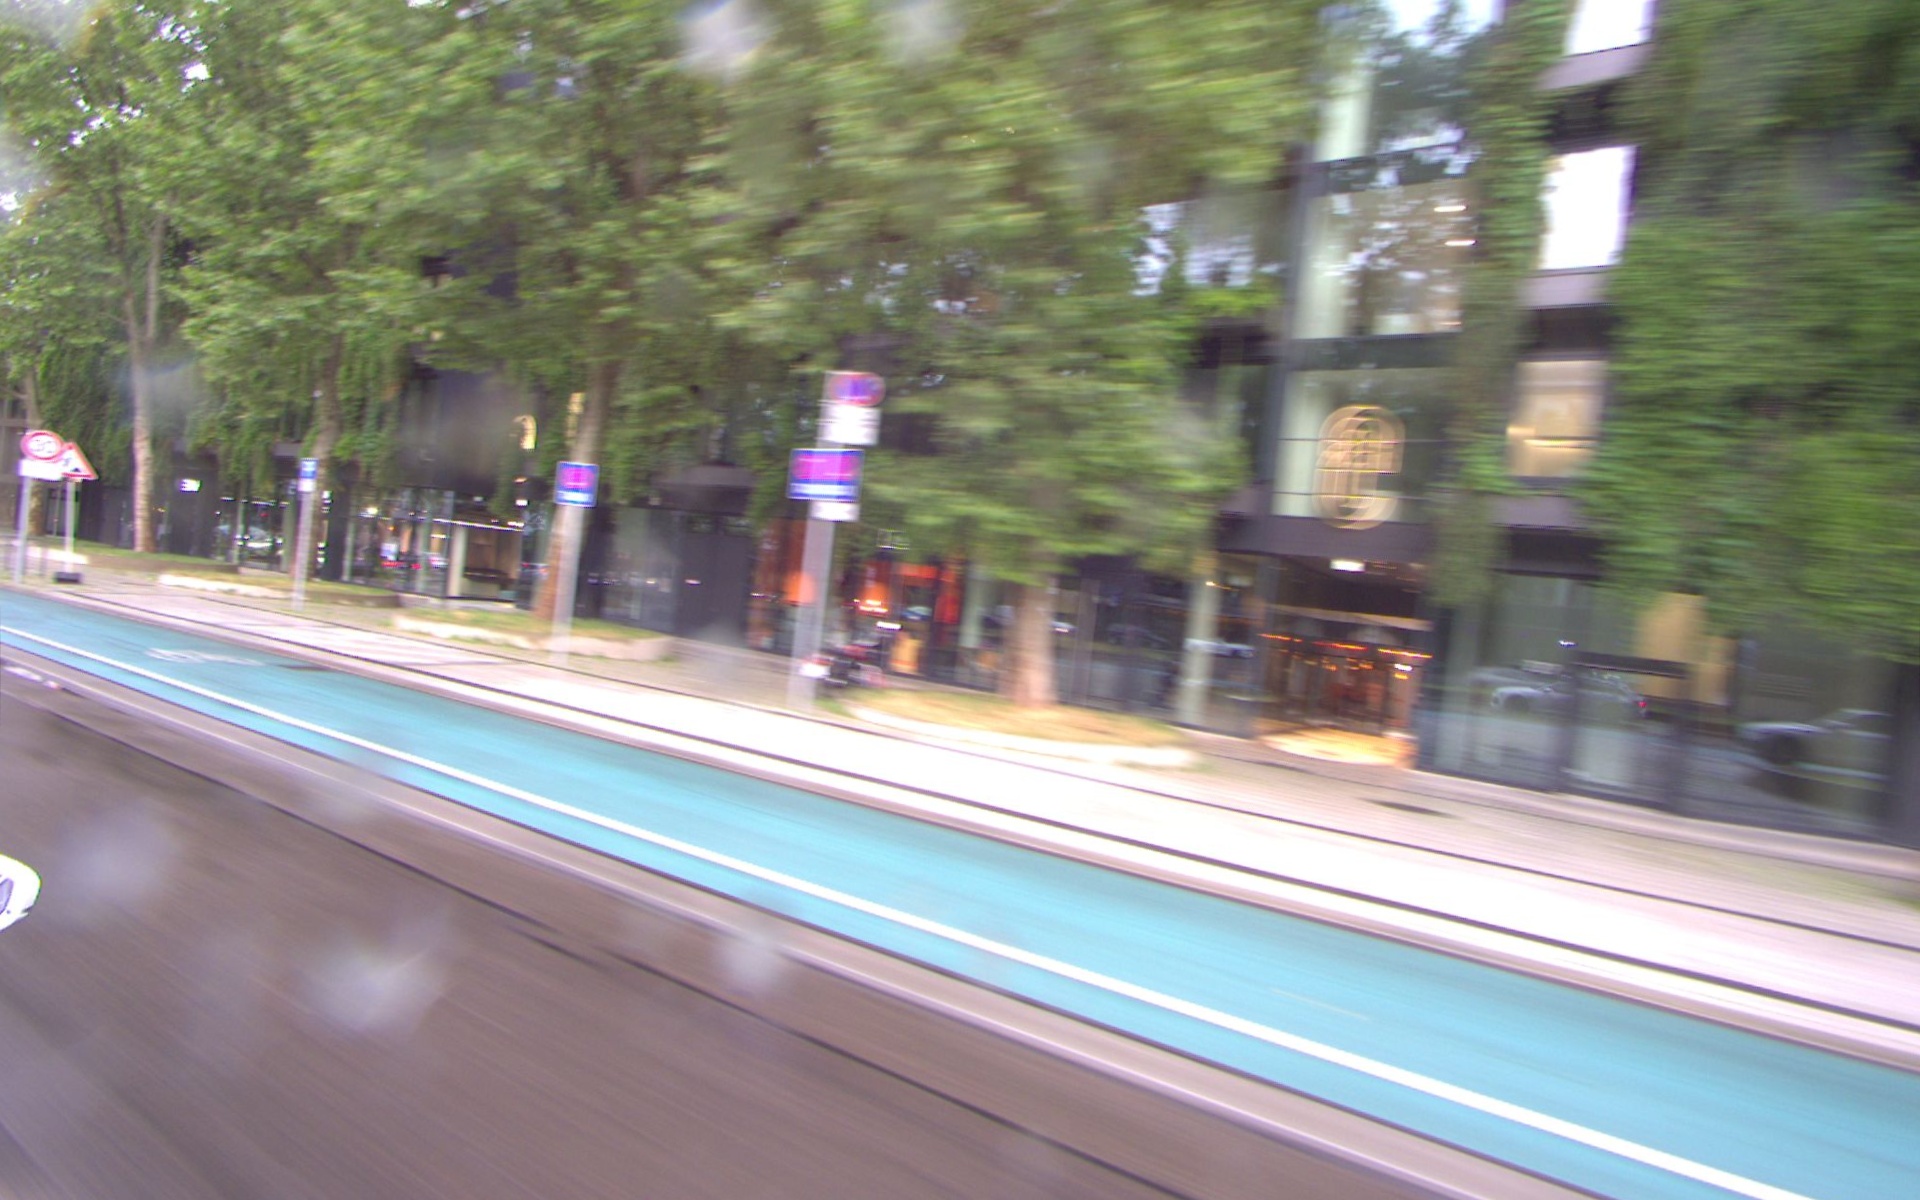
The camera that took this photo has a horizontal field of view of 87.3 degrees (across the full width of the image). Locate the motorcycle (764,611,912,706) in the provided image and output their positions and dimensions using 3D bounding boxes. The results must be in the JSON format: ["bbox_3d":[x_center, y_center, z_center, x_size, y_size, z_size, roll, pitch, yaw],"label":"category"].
[{"bbox_3d":[-1.898,0.967,16.075,1.035,1.285,2.313,6,-2,31],"label":"motorcycle"}]
